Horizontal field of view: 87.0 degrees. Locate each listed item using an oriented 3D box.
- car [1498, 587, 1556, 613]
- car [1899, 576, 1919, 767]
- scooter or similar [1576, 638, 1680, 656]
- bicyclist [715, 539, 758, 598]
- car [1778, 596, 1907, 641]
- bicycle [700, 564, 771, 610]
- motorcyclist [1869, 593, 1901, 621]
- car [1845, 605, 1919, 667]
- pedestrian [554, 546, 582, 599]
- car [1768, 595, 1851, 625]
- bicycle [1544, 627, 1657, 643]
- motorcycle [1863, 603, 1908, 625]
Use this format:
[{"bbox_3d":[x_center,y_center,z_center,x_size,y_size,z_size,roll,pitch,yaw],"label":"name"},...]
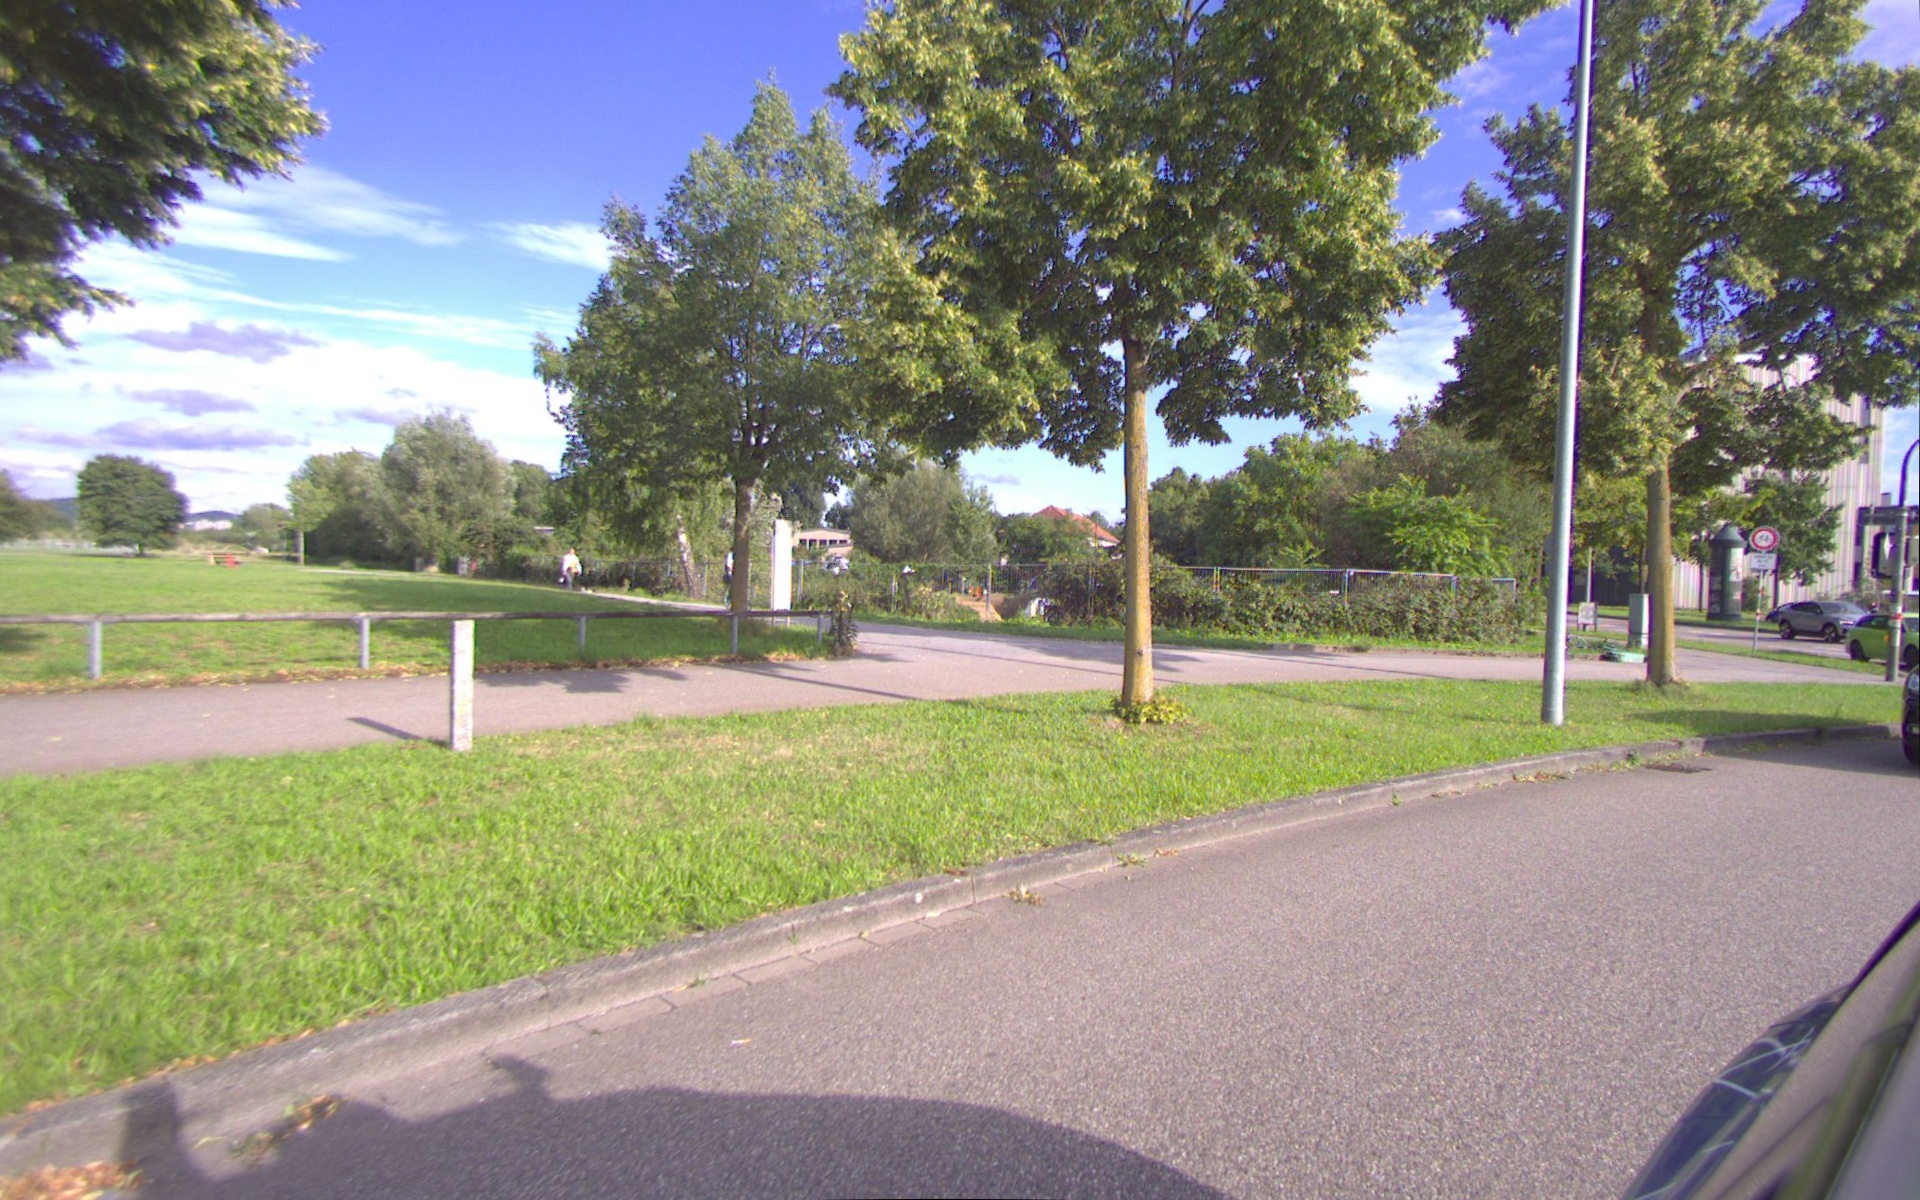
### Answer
[{"bbox_3d":[40.453,-0.021,72.315,1.967,1.682,4.792,2,2,9],"label":"car"},{"bbox_3d":[11.145,0.685,9.727,4.917,1.716,1.875,0,2,-33],"label":"car"},{"bbox_3d":[15.392,1.071,23.342,1.521,0.284,1.296,2,2,-14],"label":"scooter or similar"},{"bbox_3d":[-6.066,-0.853,27.415,0.789,1.566,0.904,0,2,-39],"label":"bicyclist"},{"bbox_3d":[34.275,0.675,39.465,1.666,1.493,4.219,1,2,8],"label":"car"},{"bbox_3d":[-6.126,-0.383,27.461,0.789,1.140,2.599,0,2,-39],"label":"bicycle"},{"bbox_3d":[47.560,0.369,52.036,0.772,1.383,0.940,2,1,12],"label":"motorcyclist"},{"bbox_3d":[25.380,0.899,26.609,1.876,1.438,4.571,0,1,24],"label":"car"},{"bbox_3d":[-13.089,-0.910,33.773,0.657,1.754,0.596,0,2,-45],"label":"pedestrian"},{"bbox_3d":[49.437,0.555,59.001,1.754,1.519,3.985,4,2,9],"label":"car"},{"bbox_3d":[16.462,0.884,26.079,1.067,0.350,2.254,0,-1,-23],"label":"bicycle"},{"bbox_3d":[47.544,0.706,52.021,0.773,0.998,2.016,2,2,13],"label":"motorcycle"}]
